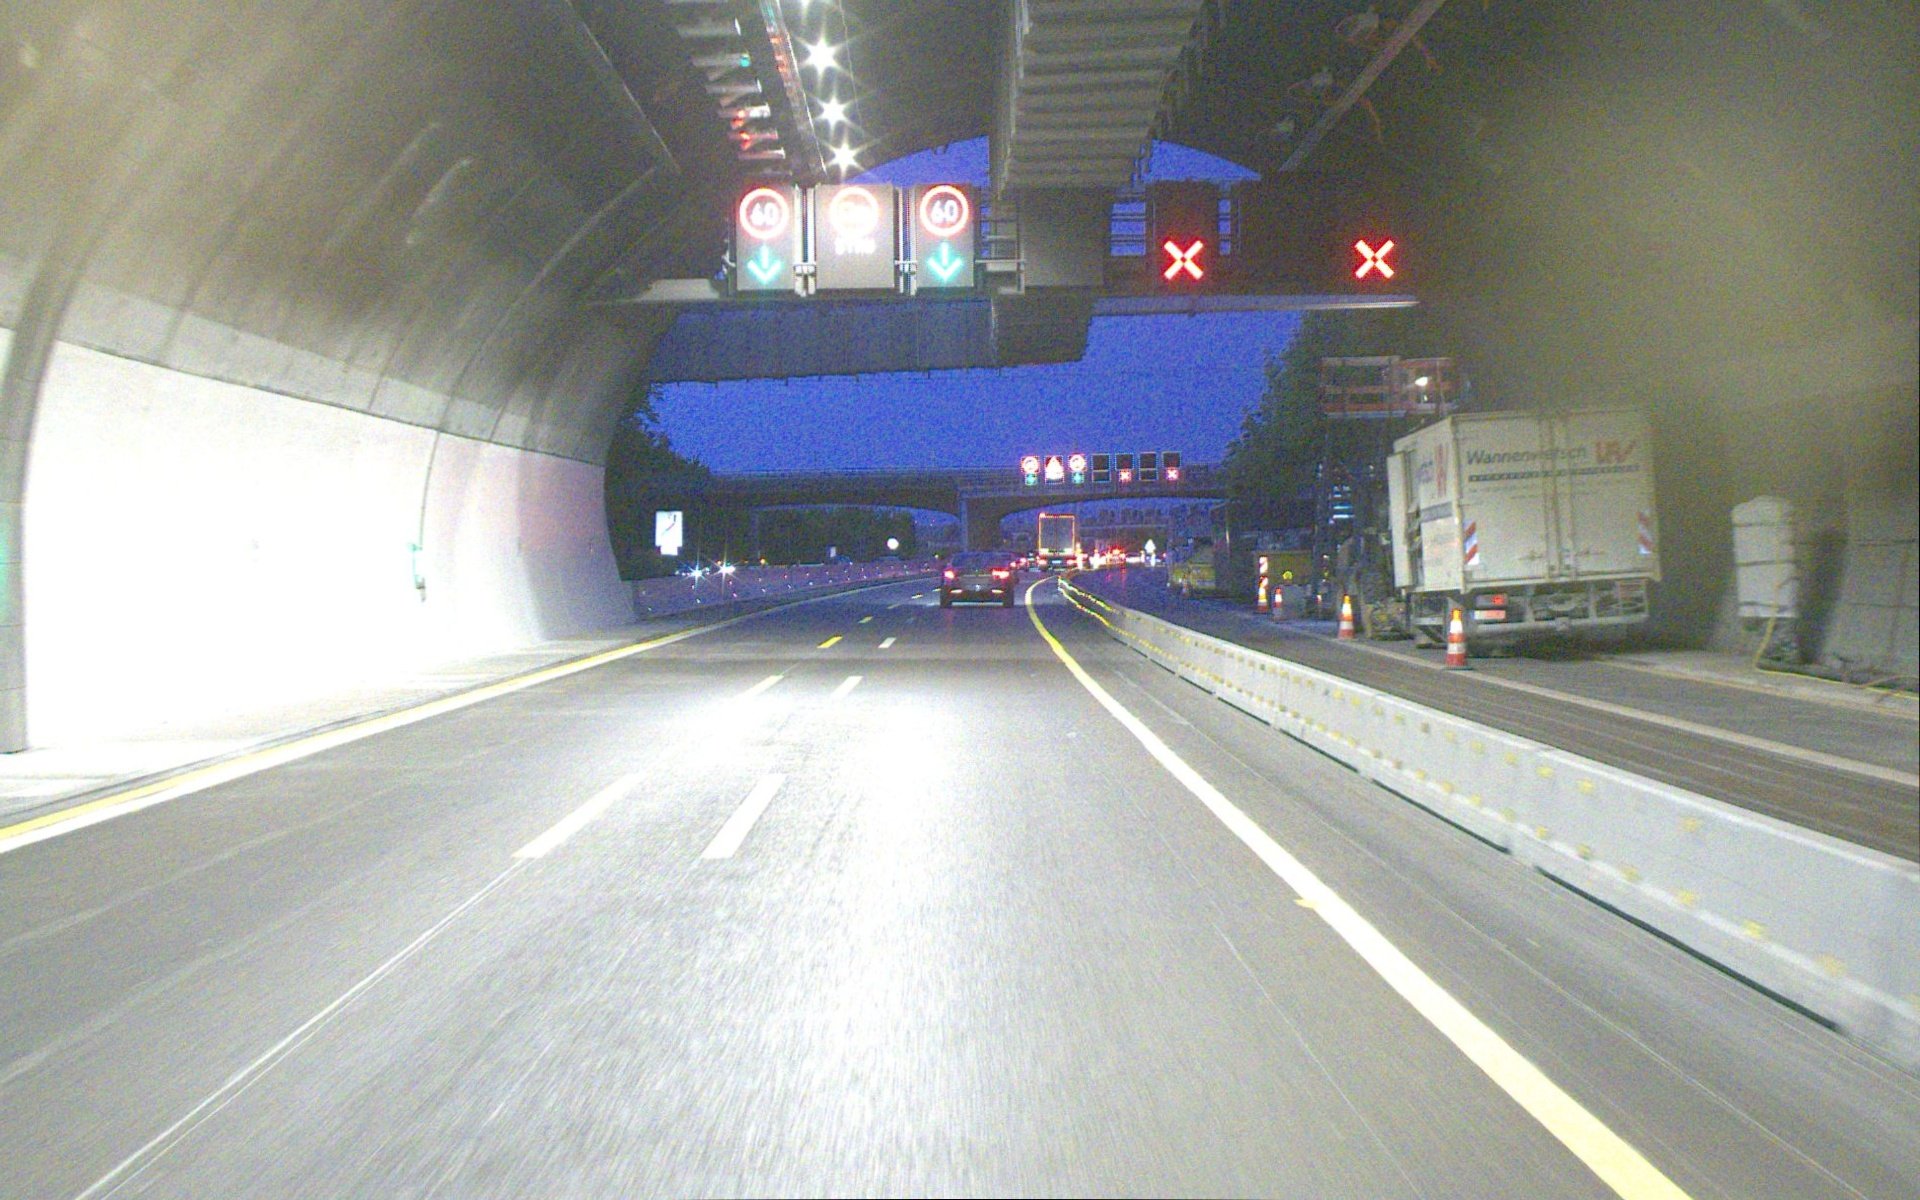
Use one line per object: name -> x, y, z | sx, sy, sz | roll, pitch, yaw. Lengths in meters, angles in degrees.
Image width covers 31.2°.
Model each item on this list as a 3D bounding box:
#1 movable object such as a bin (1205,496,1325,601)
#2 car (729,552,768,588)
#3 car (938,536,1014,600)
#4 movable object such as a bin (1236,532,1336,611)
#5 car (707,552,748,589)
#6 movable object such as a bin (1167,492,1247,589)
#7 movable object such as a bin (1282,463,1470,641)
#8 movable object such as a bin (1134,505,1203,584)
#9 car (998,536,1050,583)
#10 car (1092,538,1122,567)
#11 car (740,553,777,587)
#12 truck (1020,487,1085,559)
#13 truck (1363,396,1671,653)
movable object such as a bin -> 8.245, -1.380, 93.675 | 2.737, 2.744, 7.049 | 0, 1, 1
car -> -12.212, -1.741, 198.564 | 1.993, 2.007, 4.000 | 0, 1, 0
car -> 0.382, -0.821, 87.821 | 1.887, 1.601, 4.000 | 0, 1, -1
movable object such as a bin -> 7.655, -0.684, 80.984 | 1.978, 1.809, 3.836 | 0, 1, 0
car -> -12.740, -1.632, 188.471 | 1.993, 2.007, 4.000 | 0, 1, 0
movable object such as a bin -> 9.522, -2.268, 133.054 | 2.737, 3.666, 6.333 | 0, 1, 1
movable object such as a bin -> 6.856, -0.794, 57.486 | 2.238, 2.784, 7.233 | 0, 1, 0
movable object such as a bin -> 9.188, -2.439, 152.220 | 2.737, 3.443, 6.946 | 0, 1, 1
car -> 2.809, -1.756, 149.309 | 1.994, 2.007, 3.999 | 0, 1, 5
car -> 10.277, -3.348, 241.194 | 1.993, 2.007, 4.000 | 0, 1, 1
car -> -12.026, -1.816, 205.488 | 1.993, 2.007, 4.000 | 0, 1, 0
truck -> 6.515, -5.406, 244.335 | 4.546, 4.970, 9.599 | 0, 1, 1
truck -> 7.586, -1.006, 47.961 | 2.892, 3.261, 8.401 | 0, 1, 0
